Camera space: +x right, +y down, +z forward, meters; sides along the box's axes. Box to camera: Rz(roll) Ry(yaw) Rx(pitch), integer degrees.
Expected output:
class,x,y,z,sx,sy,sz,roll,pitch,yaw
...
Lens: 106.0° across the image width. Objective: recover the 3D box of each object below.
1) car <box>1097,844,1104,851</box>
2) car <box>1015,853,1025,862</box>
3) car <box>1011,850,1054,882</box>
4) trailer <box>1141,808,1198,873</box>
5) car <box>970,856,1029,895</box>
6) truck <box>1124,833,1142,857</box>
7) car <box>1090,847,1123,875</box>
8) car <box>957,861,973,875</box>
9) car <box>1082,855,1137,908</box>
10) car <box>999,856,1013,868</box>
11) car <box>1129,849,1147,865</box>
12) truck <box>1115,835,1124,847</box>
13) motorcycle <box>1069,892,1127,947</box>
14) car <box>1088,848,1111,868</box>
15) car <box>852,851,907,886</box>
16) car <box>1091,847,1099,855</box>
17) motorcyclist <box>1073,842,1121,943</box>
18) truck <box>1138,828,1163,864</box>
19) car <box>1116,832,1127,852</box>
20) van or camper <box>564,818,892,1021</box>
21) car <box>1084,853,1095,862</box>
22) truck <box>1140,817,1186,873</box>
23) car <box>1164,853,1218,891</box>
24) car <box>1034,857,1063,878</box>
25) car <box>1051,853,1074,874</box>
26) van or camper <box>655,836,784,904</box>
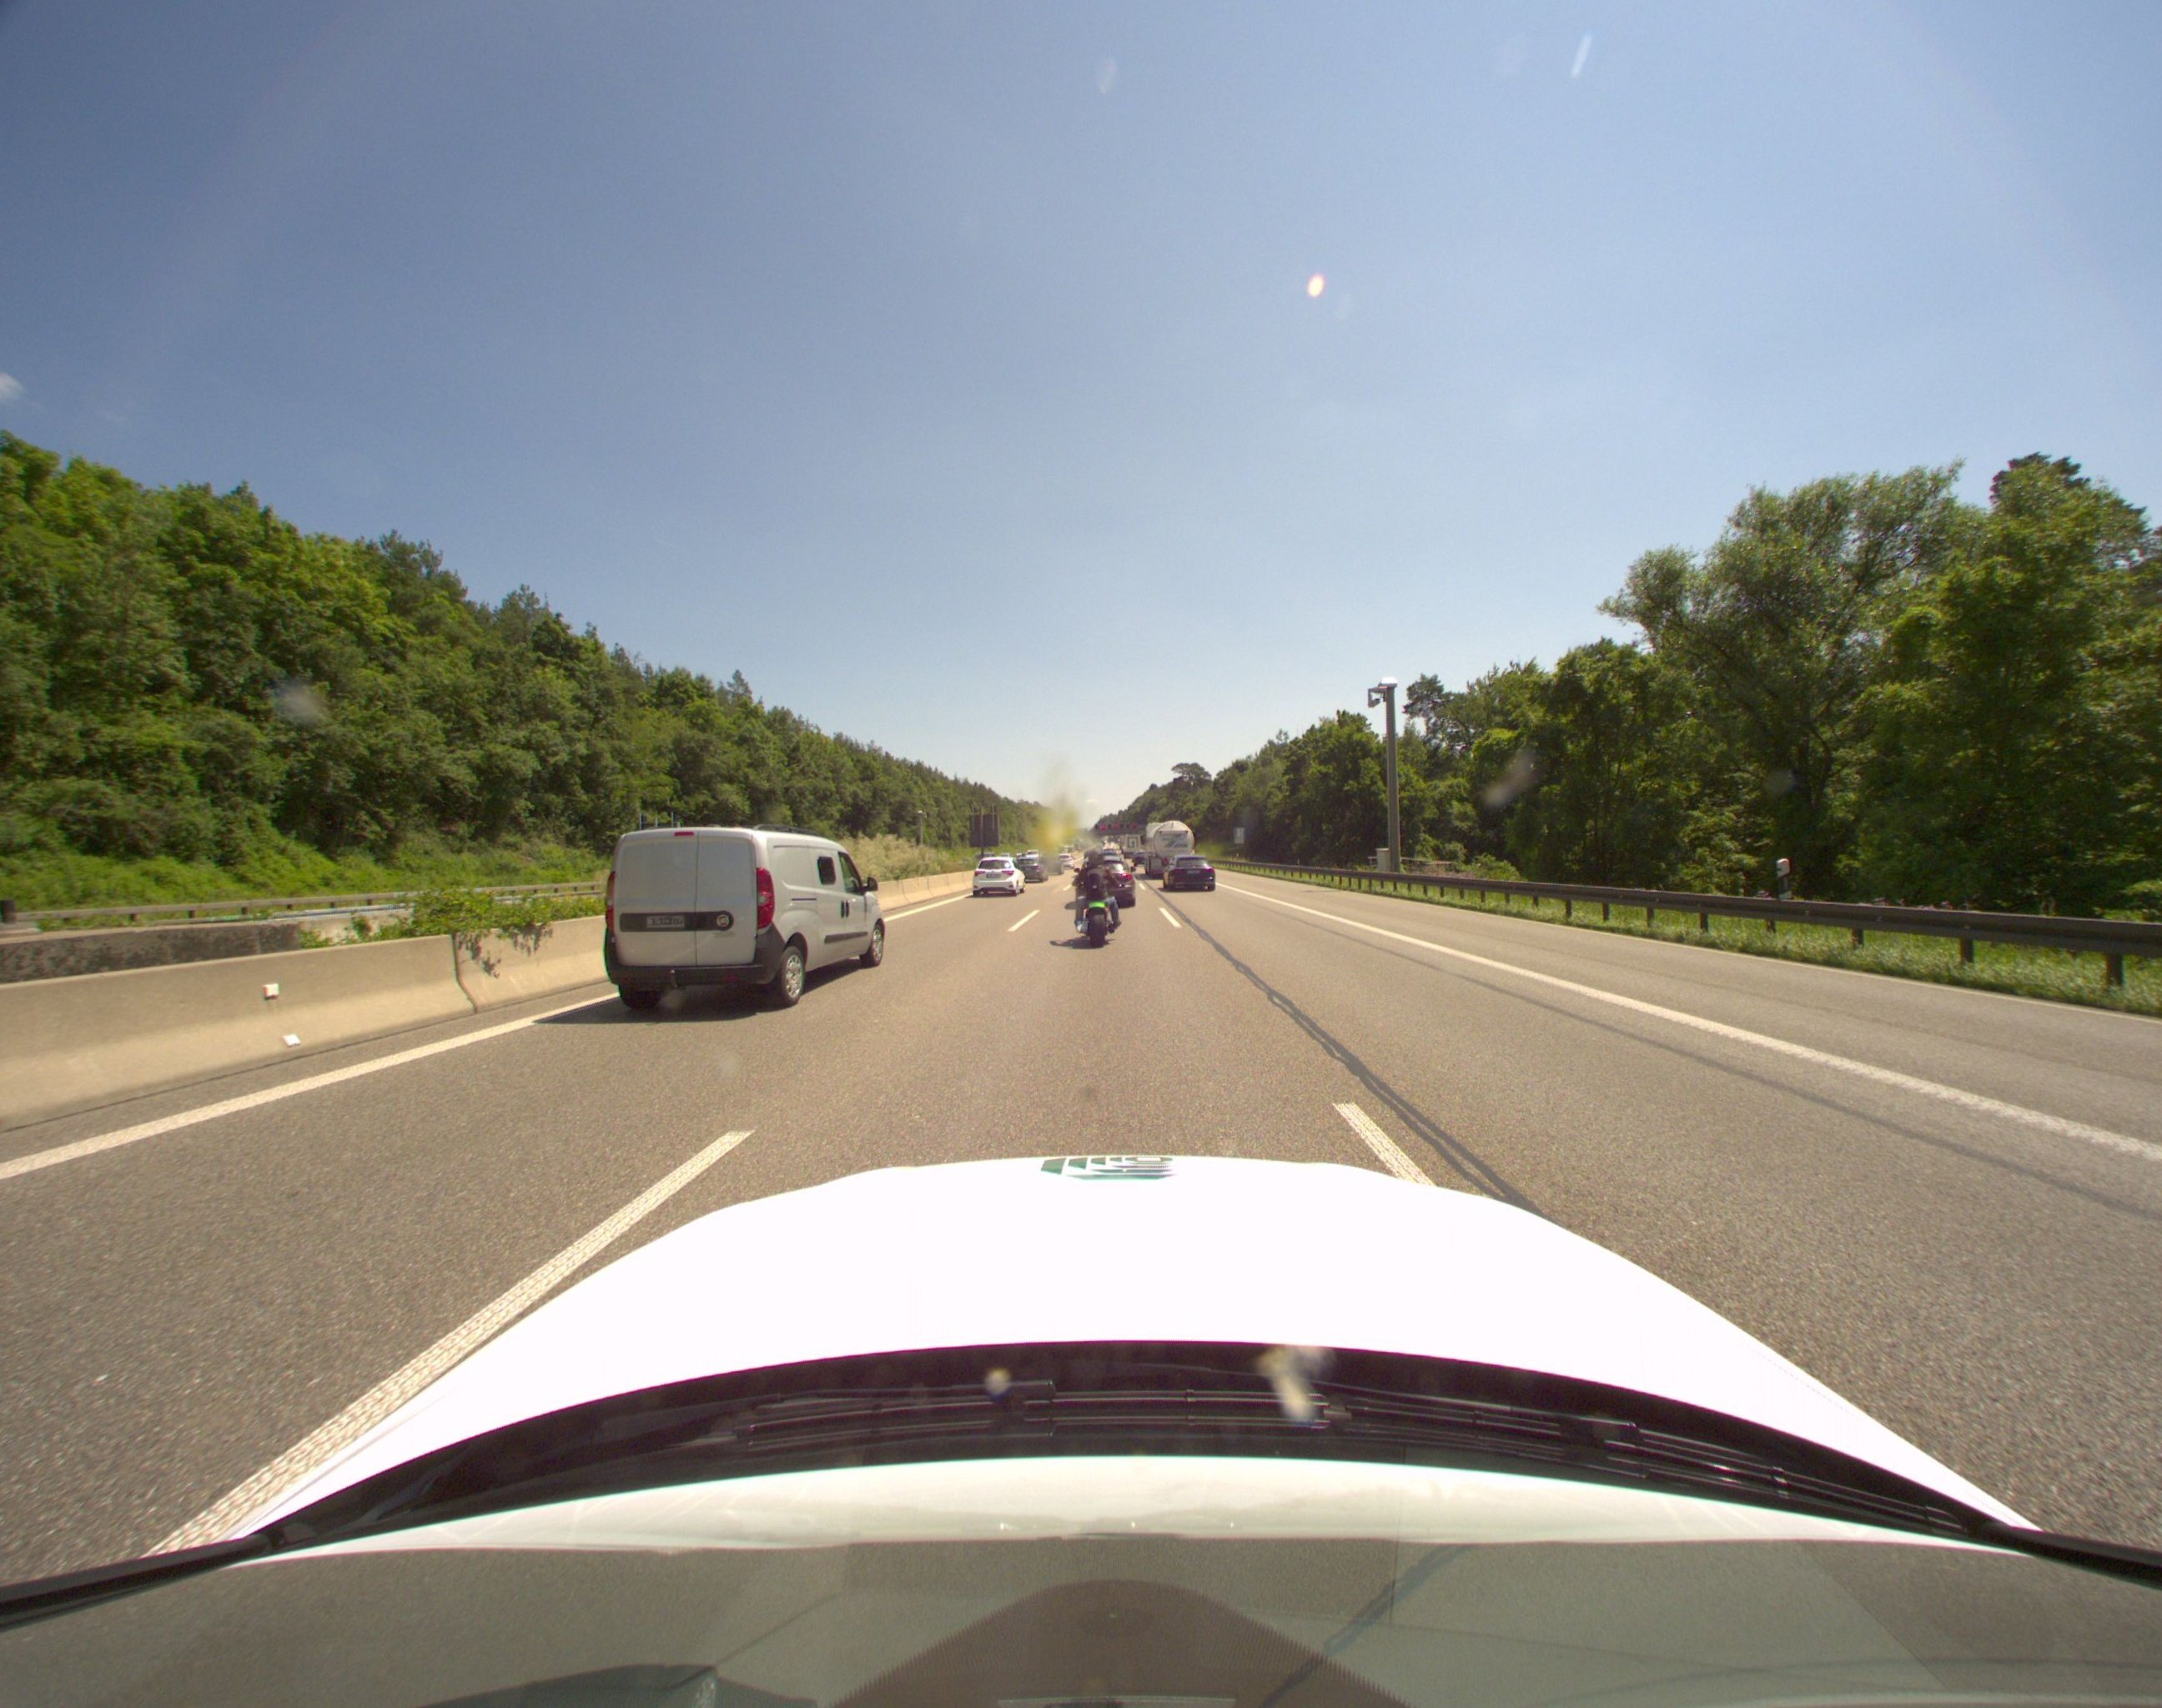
class,x,y,z,sx,sy,sz,roll,pitch,yaw
car,5.825,-1.976,242.302,1.986,2.014,4.002,-2,-1,2
car,-14.685,0.812,195.746,1.987,2.013,4.000,-1,0,0
car,-2.677,0.695,45.957,1.986,1.684,4.332,-1,-1,2
trailer,5.482,-0.665,52.013,2.817,3.671,10.736,-1,-1,2
car,-3.138,0.817,32.062,1.769,1.411,4.002,-1,0,2
truck,9.036,-1.567,139.996,2.840,3.822,7.196,-1,-2,5
car,1.629,0.457,51.984,1.986,1.711,4.000,-1,-1,1
car,-18.106,2.155,127.403,1.987,2.013,4.000,-1,0,0
car,0.871,0.795,24.790,1.535,1.450,4.002,-1,-1,2
car,-12.932,1.406,140.527,1.987,2.013,4.000,-1,0,0
car,5.946,0.356,84.821,1.769,1.527,4.001,-1,-1,2
truck,12.060,-3.946,256.942,2.686,3.405,10.483,-2,-1,2
motorcycle,0.320,1.111,14.277,0.932,0.793,2.300,-1,-1,2
car,1.730,0.364,76.029,1.986,1.775,4.000,-1,-1,1
car,-11.998,0.824,48.728,1.985,2.013,4.274,-1,0,3
car,3.277,-0.621,184.133,1.654,1.599,4.002,-1,-1,3
motorcyclist,0.291,0.662,14.285,0.796,1.688,1.017,-1,-2,2
truck,8.966,-0.953,105.909,2.380,4.464,10.871,-1,0,1
car,8.855,-2.513,177.398,2.159,3.893,9.333,-1,-1,2
van or camper,-3.817,0.611,9.864,1.846,1.880,4.563,-1,0,2
car,1.496,0.653,141.432,1.757,1.442,4.003,-1,0,3
truck,5.697,-0.525,57.457,2.817,3.671,6.432,-1,-2,2
car,4.529,0.741,34.042,1.785,1.459,4.626,-1,-1,2
car,-2.353,0.994,59.616,1.987,1.464,3.998,-1,-1,-1
car,-1.797,0.932,78.634,1.986,2.014,4.001,-1,-2,2
van or camper,-14.048,0.641,32.239,2.144,2.423,6.198,-1,-1,2
